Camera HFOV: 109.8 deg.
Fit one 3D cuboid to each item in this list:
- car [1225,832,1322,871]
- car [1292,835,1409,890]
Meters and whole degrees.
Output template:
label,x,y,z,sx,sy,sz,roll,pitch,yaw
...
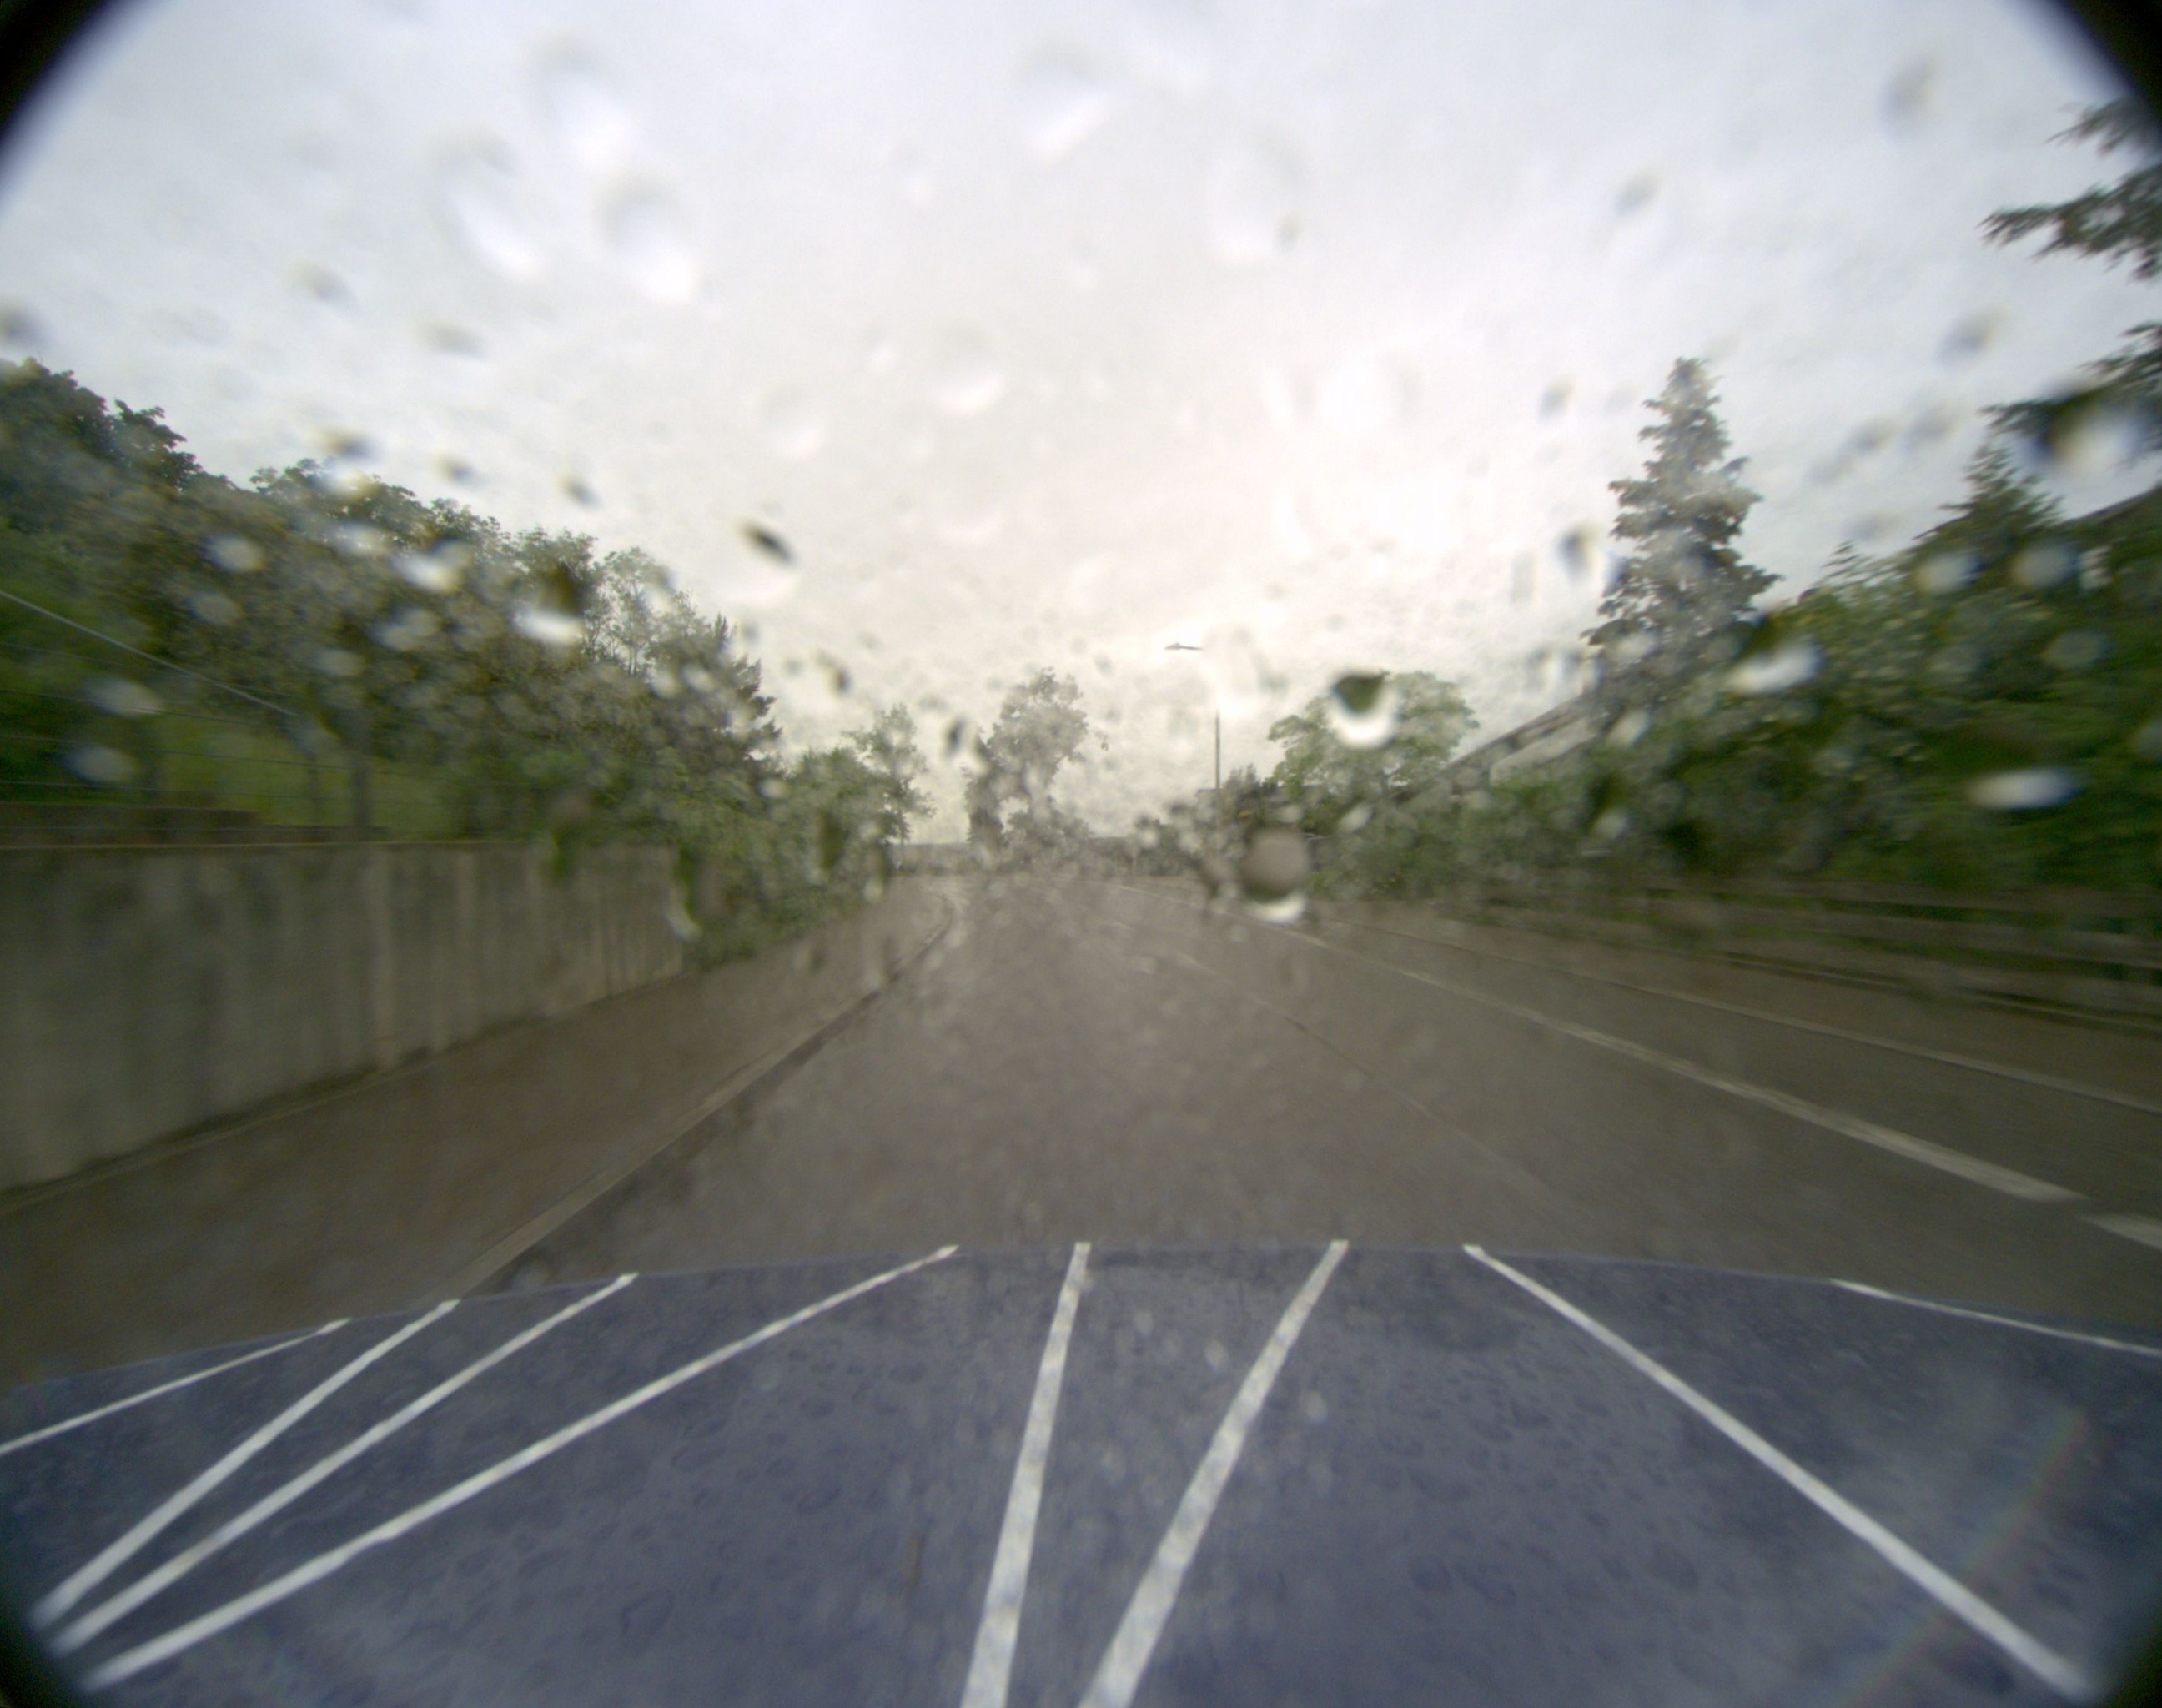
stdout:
label,x,y,z,sx,sy,sz,roll,pitch,yaw
car,7.836,-0.095,31.063,3.736,1.471,1.456,-1,1,13
car,7.650,0.252,21.563,3.033,1.471,1.457,-1,1,23
